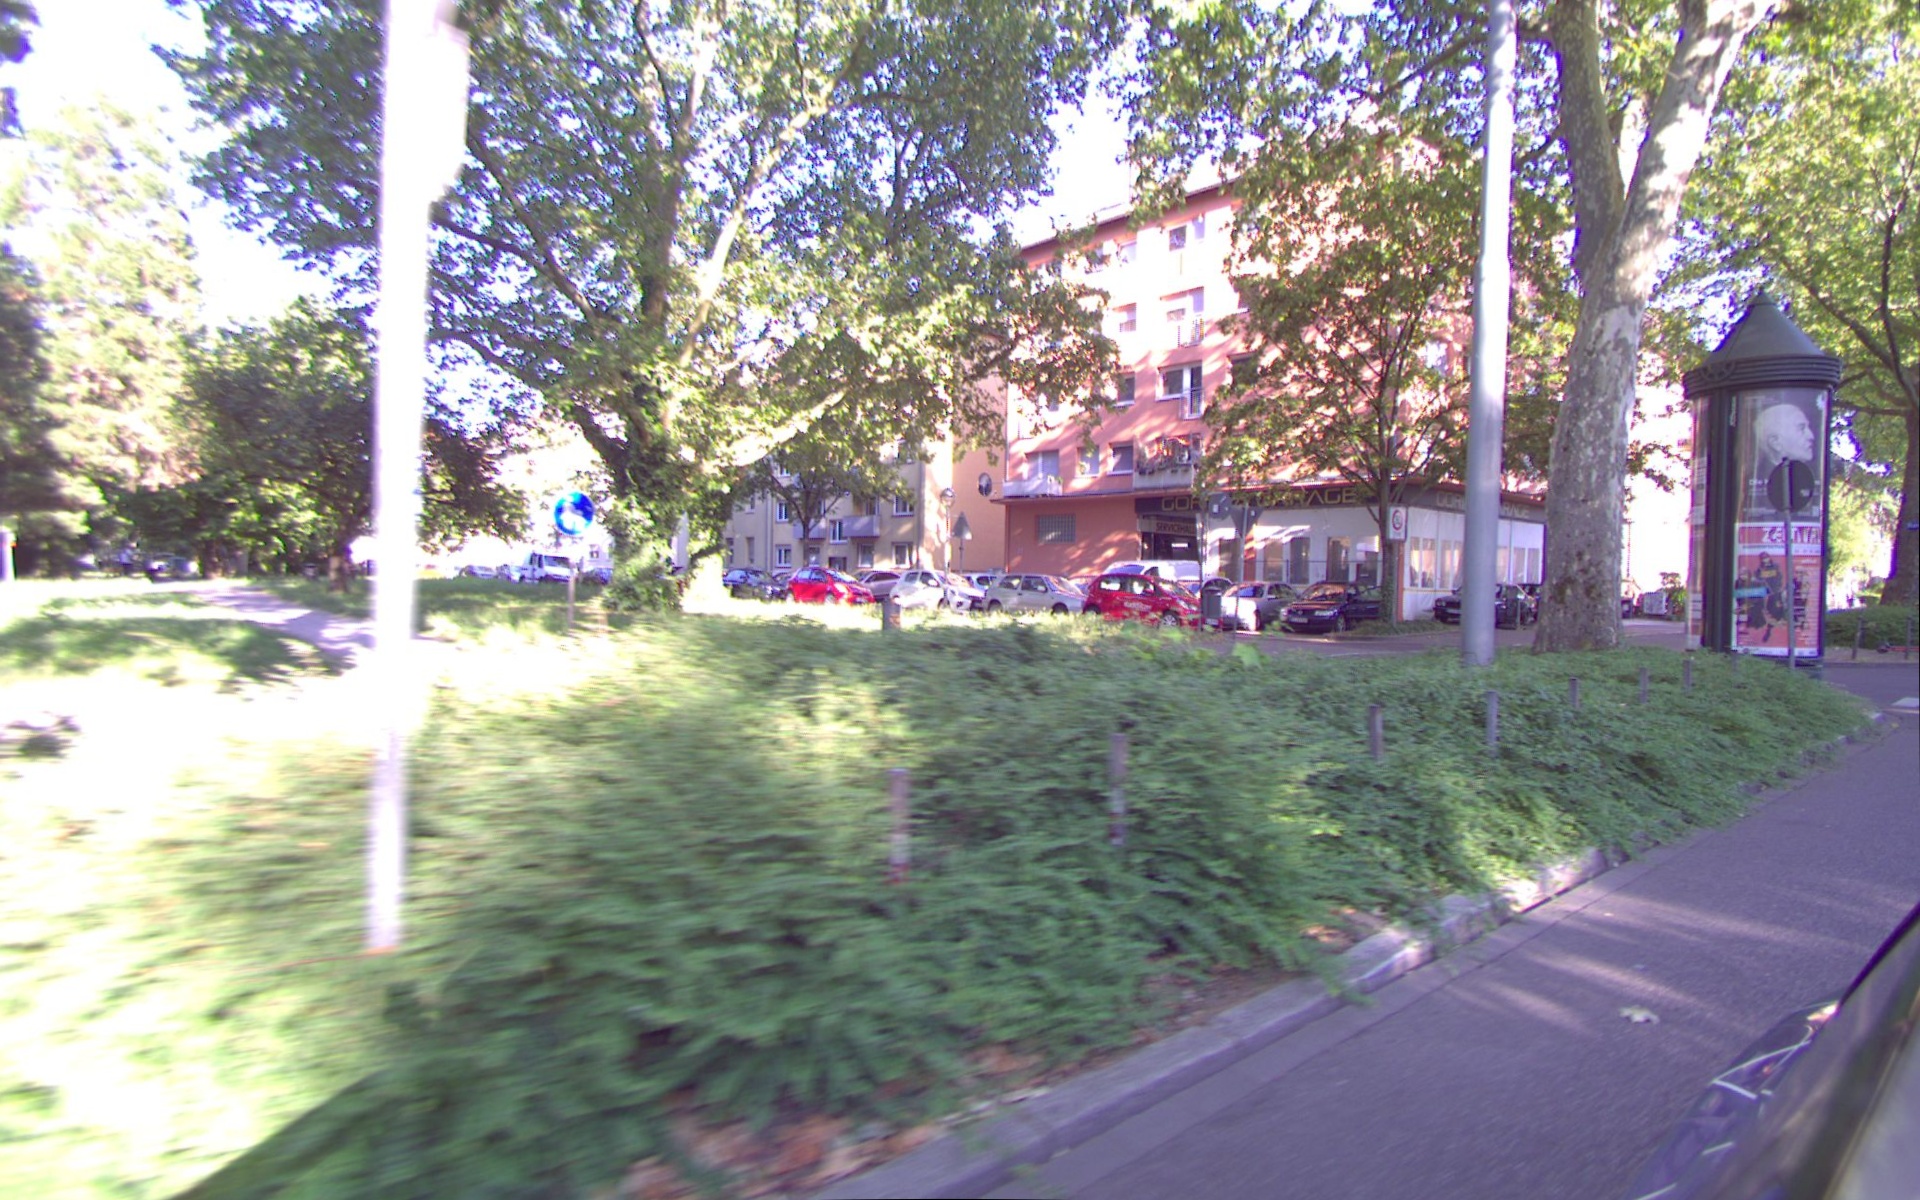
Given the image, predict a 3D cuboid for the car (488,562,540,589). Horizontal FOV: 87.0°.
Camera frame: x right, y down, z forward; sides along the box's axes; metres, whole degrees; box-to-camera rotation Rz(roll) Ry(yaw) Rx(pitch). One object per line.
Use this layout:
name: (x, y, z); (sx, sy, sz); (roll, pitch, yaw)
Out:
car: (-26.999, -1.501, 61.251); (1.769, 1.529, 3.994); (0, 2, -41)

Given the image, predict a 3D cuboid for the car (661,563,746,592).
car: (-14.852, -1.284, 58.856); (4.502, 1.594, 1.791); (0, 2, -44)

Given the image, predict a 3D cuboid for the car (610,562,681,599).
car: (-14.493, -0.913, 46.499); (1.654, 1.601, 3.925); (0, 2, -41)

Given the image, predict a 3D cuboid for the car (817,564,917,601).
car: (-4.304, -0.801, 47.181); (4.502, 1.594, 1.791); (0, 2, -44)

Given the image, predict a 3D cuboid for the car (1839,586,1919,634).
car: (33.000, 0.369, 34.405); (1.915, 1.562, 4.416); (0, 2, -37)

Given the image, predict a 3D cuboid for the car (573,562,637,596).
car: (-17.807, -1.056, 50.632); (1.654, 1.601, 3.925); (0, 2, -41)

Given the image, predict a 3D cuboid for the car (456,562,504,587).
car: (-30.998, -1.649, 65.307); (1.769, 1.529, 3.994); (0, 2, -41)

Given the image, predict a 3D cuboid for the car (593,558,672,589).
car: (-21.142, -1.690, 65.399); (4.502, 1.931, 1.791); (0, 2, -44)

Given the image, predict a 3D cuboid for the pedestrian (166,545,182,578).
pedestrian: (-41.605, -2.038, 53.552); (0.638, 1.682, 0.649); (0, 2, -40)

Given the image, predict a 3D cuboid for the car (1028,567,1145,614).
car: (4.651, -0.356, 36.865); (4.502, 1.594, 1.791); (0, 2, -44)

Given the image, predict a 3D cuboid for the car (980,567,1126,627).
car: (2.504, -0.123, 27.918); (1.654, 1.470, 3.925); (0, 2, -41)

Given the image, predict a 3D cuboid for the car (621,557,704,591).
car: (-18.101, -1.565, 61.714); (4.502, 1.931, 1.791); (0, 2, -44)

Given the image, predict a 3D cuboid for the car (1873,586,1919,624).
car: (42.158, 0.247, 43.367); (1.784, 1.575, 4.212); (0, 2, -37)

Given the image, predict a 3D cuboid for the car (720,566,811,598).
car: (-10.258, -0.963, 53.575); (4.502, 1.594, 1.791); (0, 2, -44)

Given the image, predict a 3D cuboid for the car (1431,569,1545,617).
car: (17.502, -0.235, 33.483); (4.388, 1.452, 1.753); (0, 2, -40)

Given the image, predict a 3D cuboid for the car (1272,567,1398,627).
car: (11.110, -0.112, 29.806); (1.790, 1.594, 4.504); (3, 2, 44)

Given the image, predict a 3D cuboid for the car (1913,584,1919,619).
car: (46.128, 0.131, 45.791); (1.846, 1.639, 4.206); (0, 2, -42)

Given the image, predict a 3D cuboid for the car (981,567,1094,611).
car: (3.045, -0.425, 38.909); (4.502, 1.594, 1.791); (0, 2, -44)

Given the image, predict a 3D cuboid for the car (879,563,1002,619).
car: (-0.660, -0.319, 31.535); (1.654, 1.601, 3.925); (0, 2, -41)

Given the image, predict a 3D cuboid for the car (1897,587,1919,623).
car: (44.198, 0.271, 44.428); (1.784, 1.593, 4.212); (0, 2, -37)

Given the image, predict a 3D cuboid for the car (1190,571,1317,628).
car: (9.051, -0.040, 30.963); (1.790, 1.594, 4.504); (3, 2, 44)

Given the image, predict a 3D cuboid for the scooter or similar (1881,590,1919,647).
scooter or similar: (21.753, 0.418, 22.947); (0.560, 1.255, 1.210); (-1, 2, -41)

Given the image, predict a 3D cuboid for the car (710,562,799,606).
car: (-8.026, -0.647, 39.327); (1.654, 1.601, 3.925); (0, 2, -41)

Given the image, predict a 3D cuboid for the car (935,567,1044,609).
car: (1.242, -0.507, 41.249); (4.502, 1.594, 1.791); (0, 2, -44)

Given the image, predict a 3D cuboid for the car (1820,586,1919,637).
car: (31.031, 0.382, 32.831); (1.782, 1.562, 4.421); (0, 2, -32)

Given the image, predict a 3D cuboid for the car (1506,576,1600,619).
car: (21.958, -0.102, 37.420); (3.880, 1.452, 1.753); (0, 2, -40)

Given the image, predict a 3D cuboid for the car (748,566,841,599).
car: (-8.399, -0.891, 51.645); (4.502, 1.594, 1.791); (0, 2, -44)

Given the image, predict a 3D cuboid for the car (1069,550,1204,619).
car: (6.130, -0.533, 34.795); (4.999, 2.211, 1.914); (0, 2, -43)

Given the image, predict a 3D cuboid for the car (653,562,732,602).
car: (-11.491, -0.793, 43.320); (1.654, 1.601, 3.925); (0, 2, -41)

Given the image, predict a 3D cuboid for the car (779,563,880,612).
car: (-4.666, -0.479, 35.852); (1.654, 1.601, 3.925); (0, 2, -41)

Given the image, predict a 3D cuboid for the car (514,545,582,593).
car: (-23.242, -1.789, 56.977); (1.942, 2.594, 5.038); (0, 2, -41)

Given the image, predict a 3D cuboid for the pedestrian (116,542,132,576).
pedestrian: (-42.082, -2.084, 50.938); (0.638, 1.682, 0.649); (0, 2, -40)

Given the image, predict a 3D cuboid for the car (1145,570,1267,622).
car: (8.214, -0.155, 33.520); (4.502, 1.594, 1.791); (0, 2, -44)

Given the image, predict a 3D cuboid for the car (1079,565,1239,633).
car: (4.807, -0.066, 24.737); (1.654, 1.470, 3.544); (0, 2, -41)
